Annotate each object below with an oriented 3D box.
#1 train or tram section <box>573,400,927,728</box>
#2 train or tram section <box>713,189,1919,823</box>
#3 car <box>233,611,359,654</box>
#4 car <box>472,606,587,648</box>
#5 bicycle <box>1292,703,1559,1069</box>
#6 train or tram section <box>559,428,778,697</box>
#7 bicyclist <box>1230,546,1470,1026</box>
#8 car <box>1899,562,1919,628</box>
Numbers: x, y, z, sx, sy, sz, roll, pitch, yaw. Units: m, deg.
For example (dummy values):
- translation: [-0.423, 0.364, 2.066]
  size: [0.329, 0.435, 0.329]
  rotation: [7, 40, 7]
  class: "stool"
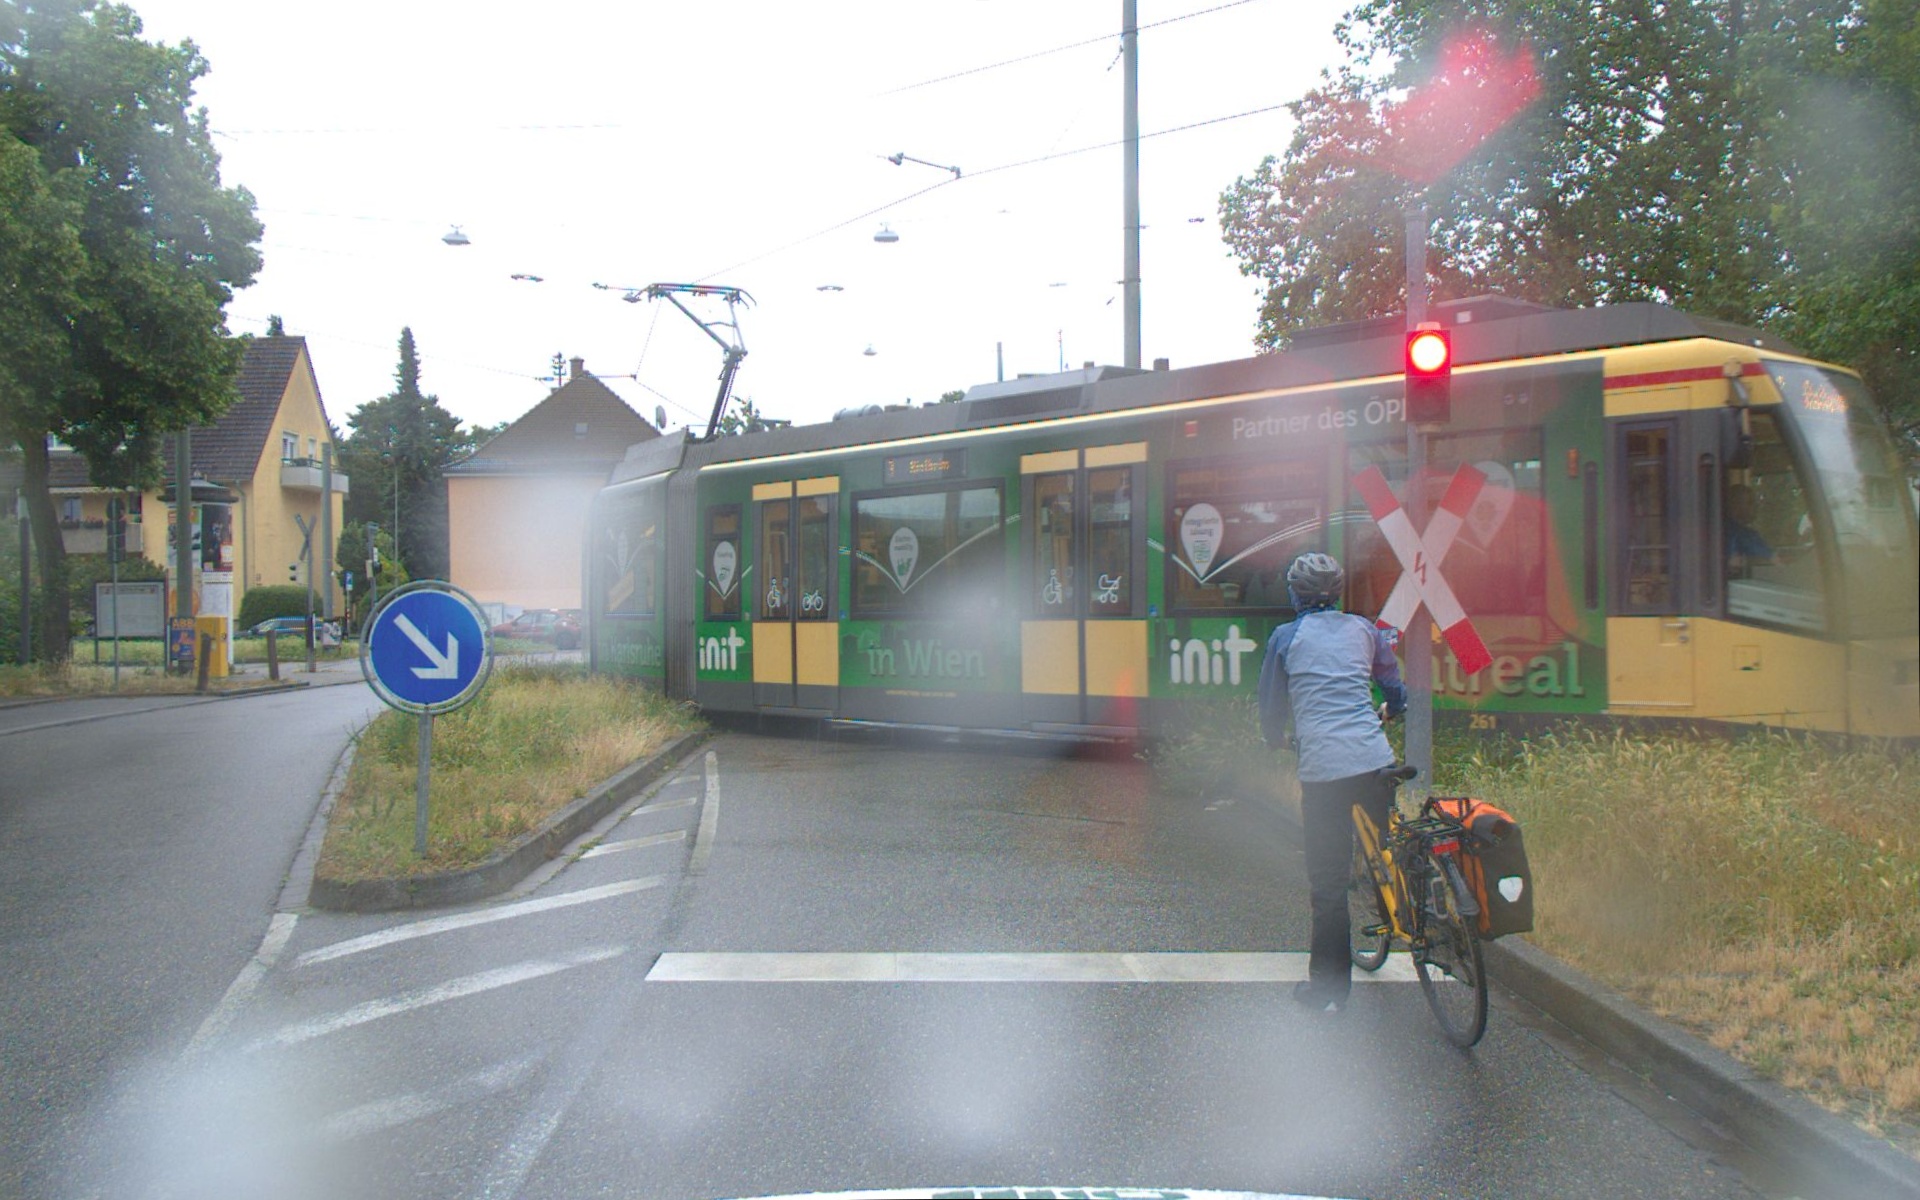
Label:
- translation: [-2.837, -0.398, 21.116]
  size: [2.733, 3.615, 4.936]
  rotation: [-1, 0, -31]
  class: "train or tram section"
- translation: [2.314, -0.478, 14.821]
  size: [2.747, 3.615, 12.014]
  rotation: [-1, 0, -42]
  class: "train or tram section"
- translation: [-24.439, 1.187, 60.970]
  size: [3.911, 1.482, 1.831]
  rotation: [1, 0, -7]
  class: "car"
- translation: [-16.184, 1.005, 62.339]
  size: [3.911, 1.482, 1.831]
  rotation: [1, 0, -7]
  class: "car"
- translation: [1.644, 0.956, 6.084]
  size: [0.437, 1.022, 1.727]
  rotation: [-1, 1, -2]
  class: "bicycle"
- translation: [-5.487, -0.501, 28.885]
  size: [2.714, 3.615, 13.081]
  rotation: [-1, 0, -14]
  class: "train or tram section"
- translation: [1.427, 0.649, 6.171]
  size: [0.653, 1.654, 0.852]
  rotation: [1, -1, -2]
  class: "bicyclist"
- translation: [28.138, -0.117, 45.533]
  size: [3.703, 1.829, 1.798]
  rotation: [1, -1, 43]
  class: "car"
